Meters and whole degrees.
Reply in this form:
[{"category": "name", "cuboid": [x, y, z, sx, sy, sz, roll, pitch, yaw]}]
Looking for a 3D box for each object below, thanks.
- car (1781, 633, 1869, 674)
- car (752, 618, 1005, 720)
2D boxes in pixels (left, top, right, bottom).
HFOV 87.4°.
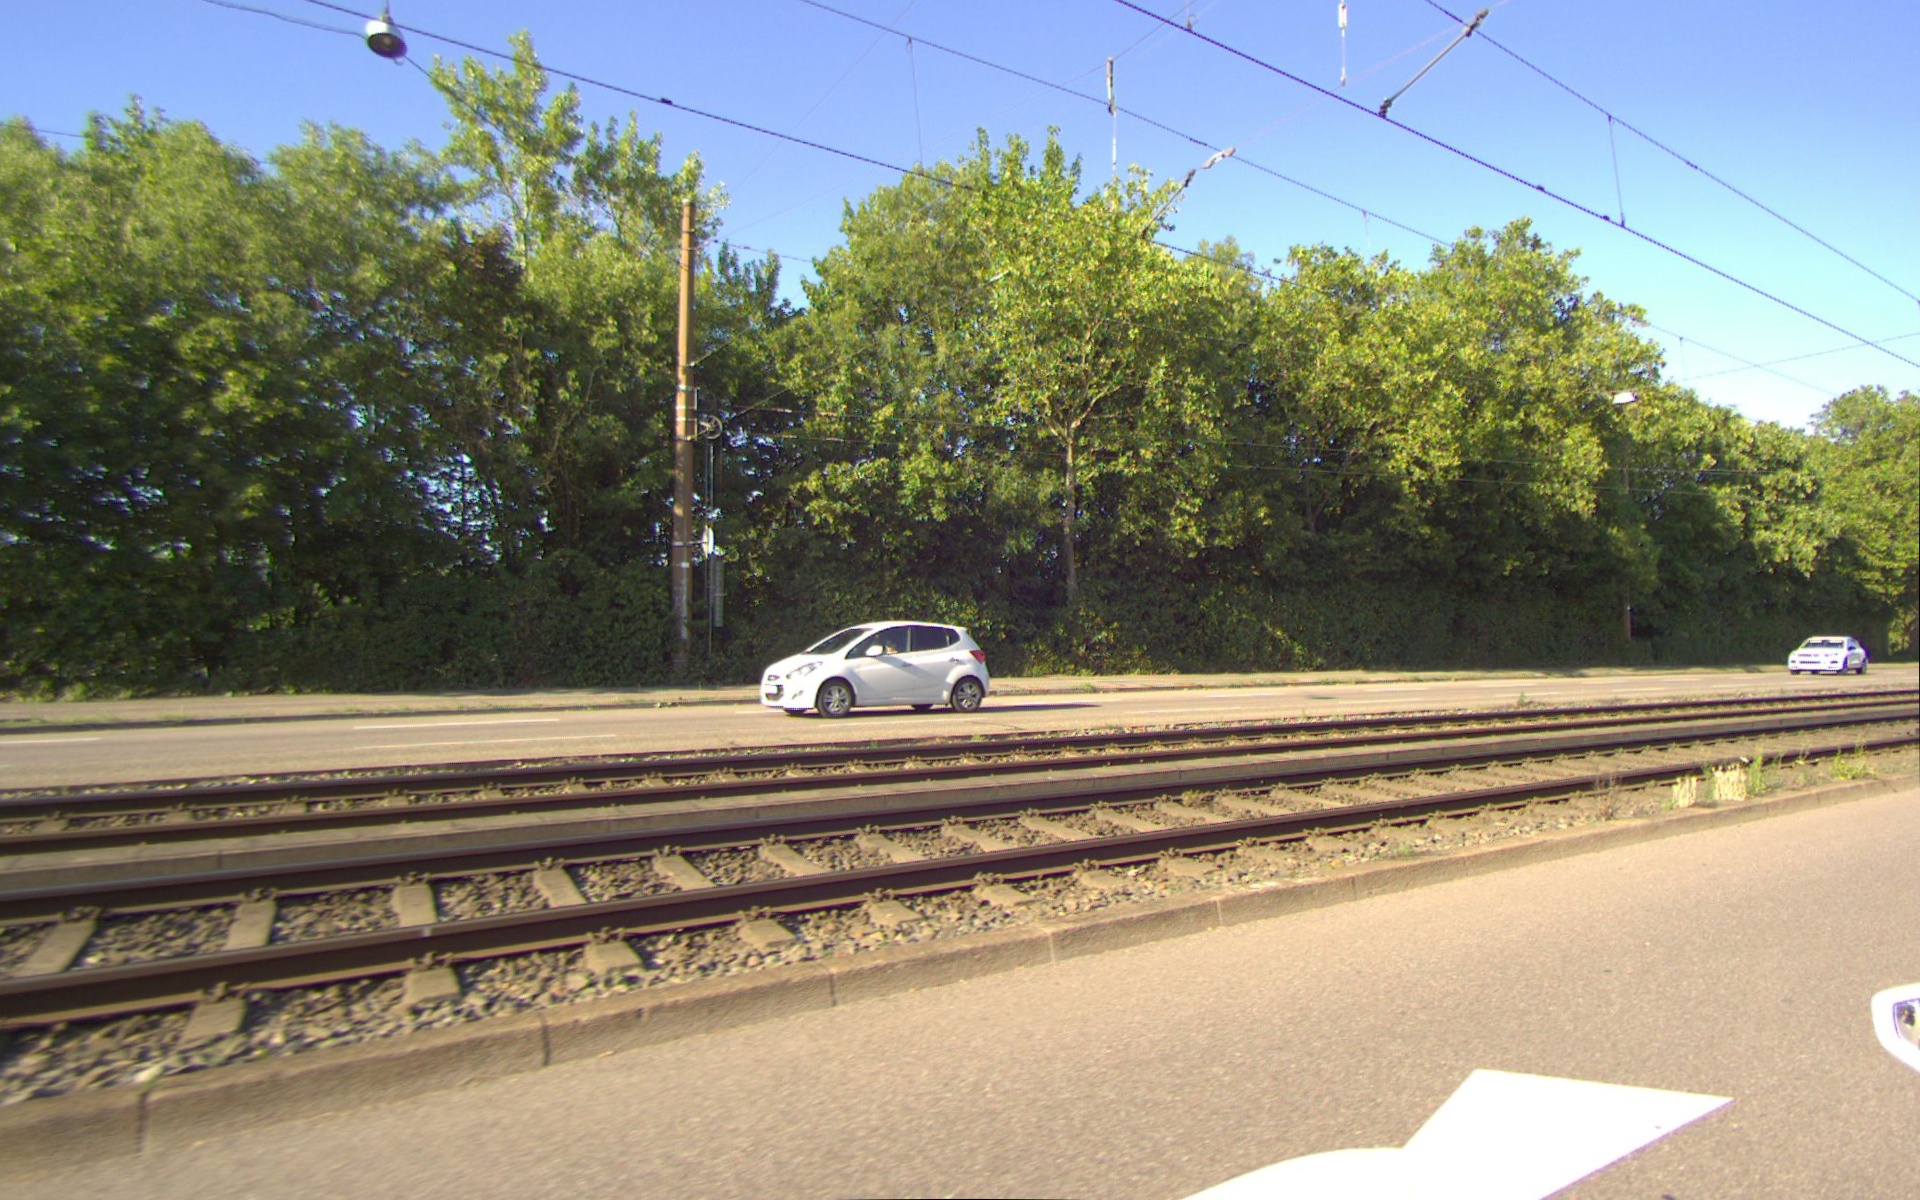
[{"category": "car", "cuboid": [39.364, 2.451, 45.681, 4.882, 1.756, 1.835, 2, -4, -35]}, {"category": "car", "cuboid": [-1.365, 1.184, 17.561, 4.147, 1.576, 1.681, 2, -4, -34]}]
